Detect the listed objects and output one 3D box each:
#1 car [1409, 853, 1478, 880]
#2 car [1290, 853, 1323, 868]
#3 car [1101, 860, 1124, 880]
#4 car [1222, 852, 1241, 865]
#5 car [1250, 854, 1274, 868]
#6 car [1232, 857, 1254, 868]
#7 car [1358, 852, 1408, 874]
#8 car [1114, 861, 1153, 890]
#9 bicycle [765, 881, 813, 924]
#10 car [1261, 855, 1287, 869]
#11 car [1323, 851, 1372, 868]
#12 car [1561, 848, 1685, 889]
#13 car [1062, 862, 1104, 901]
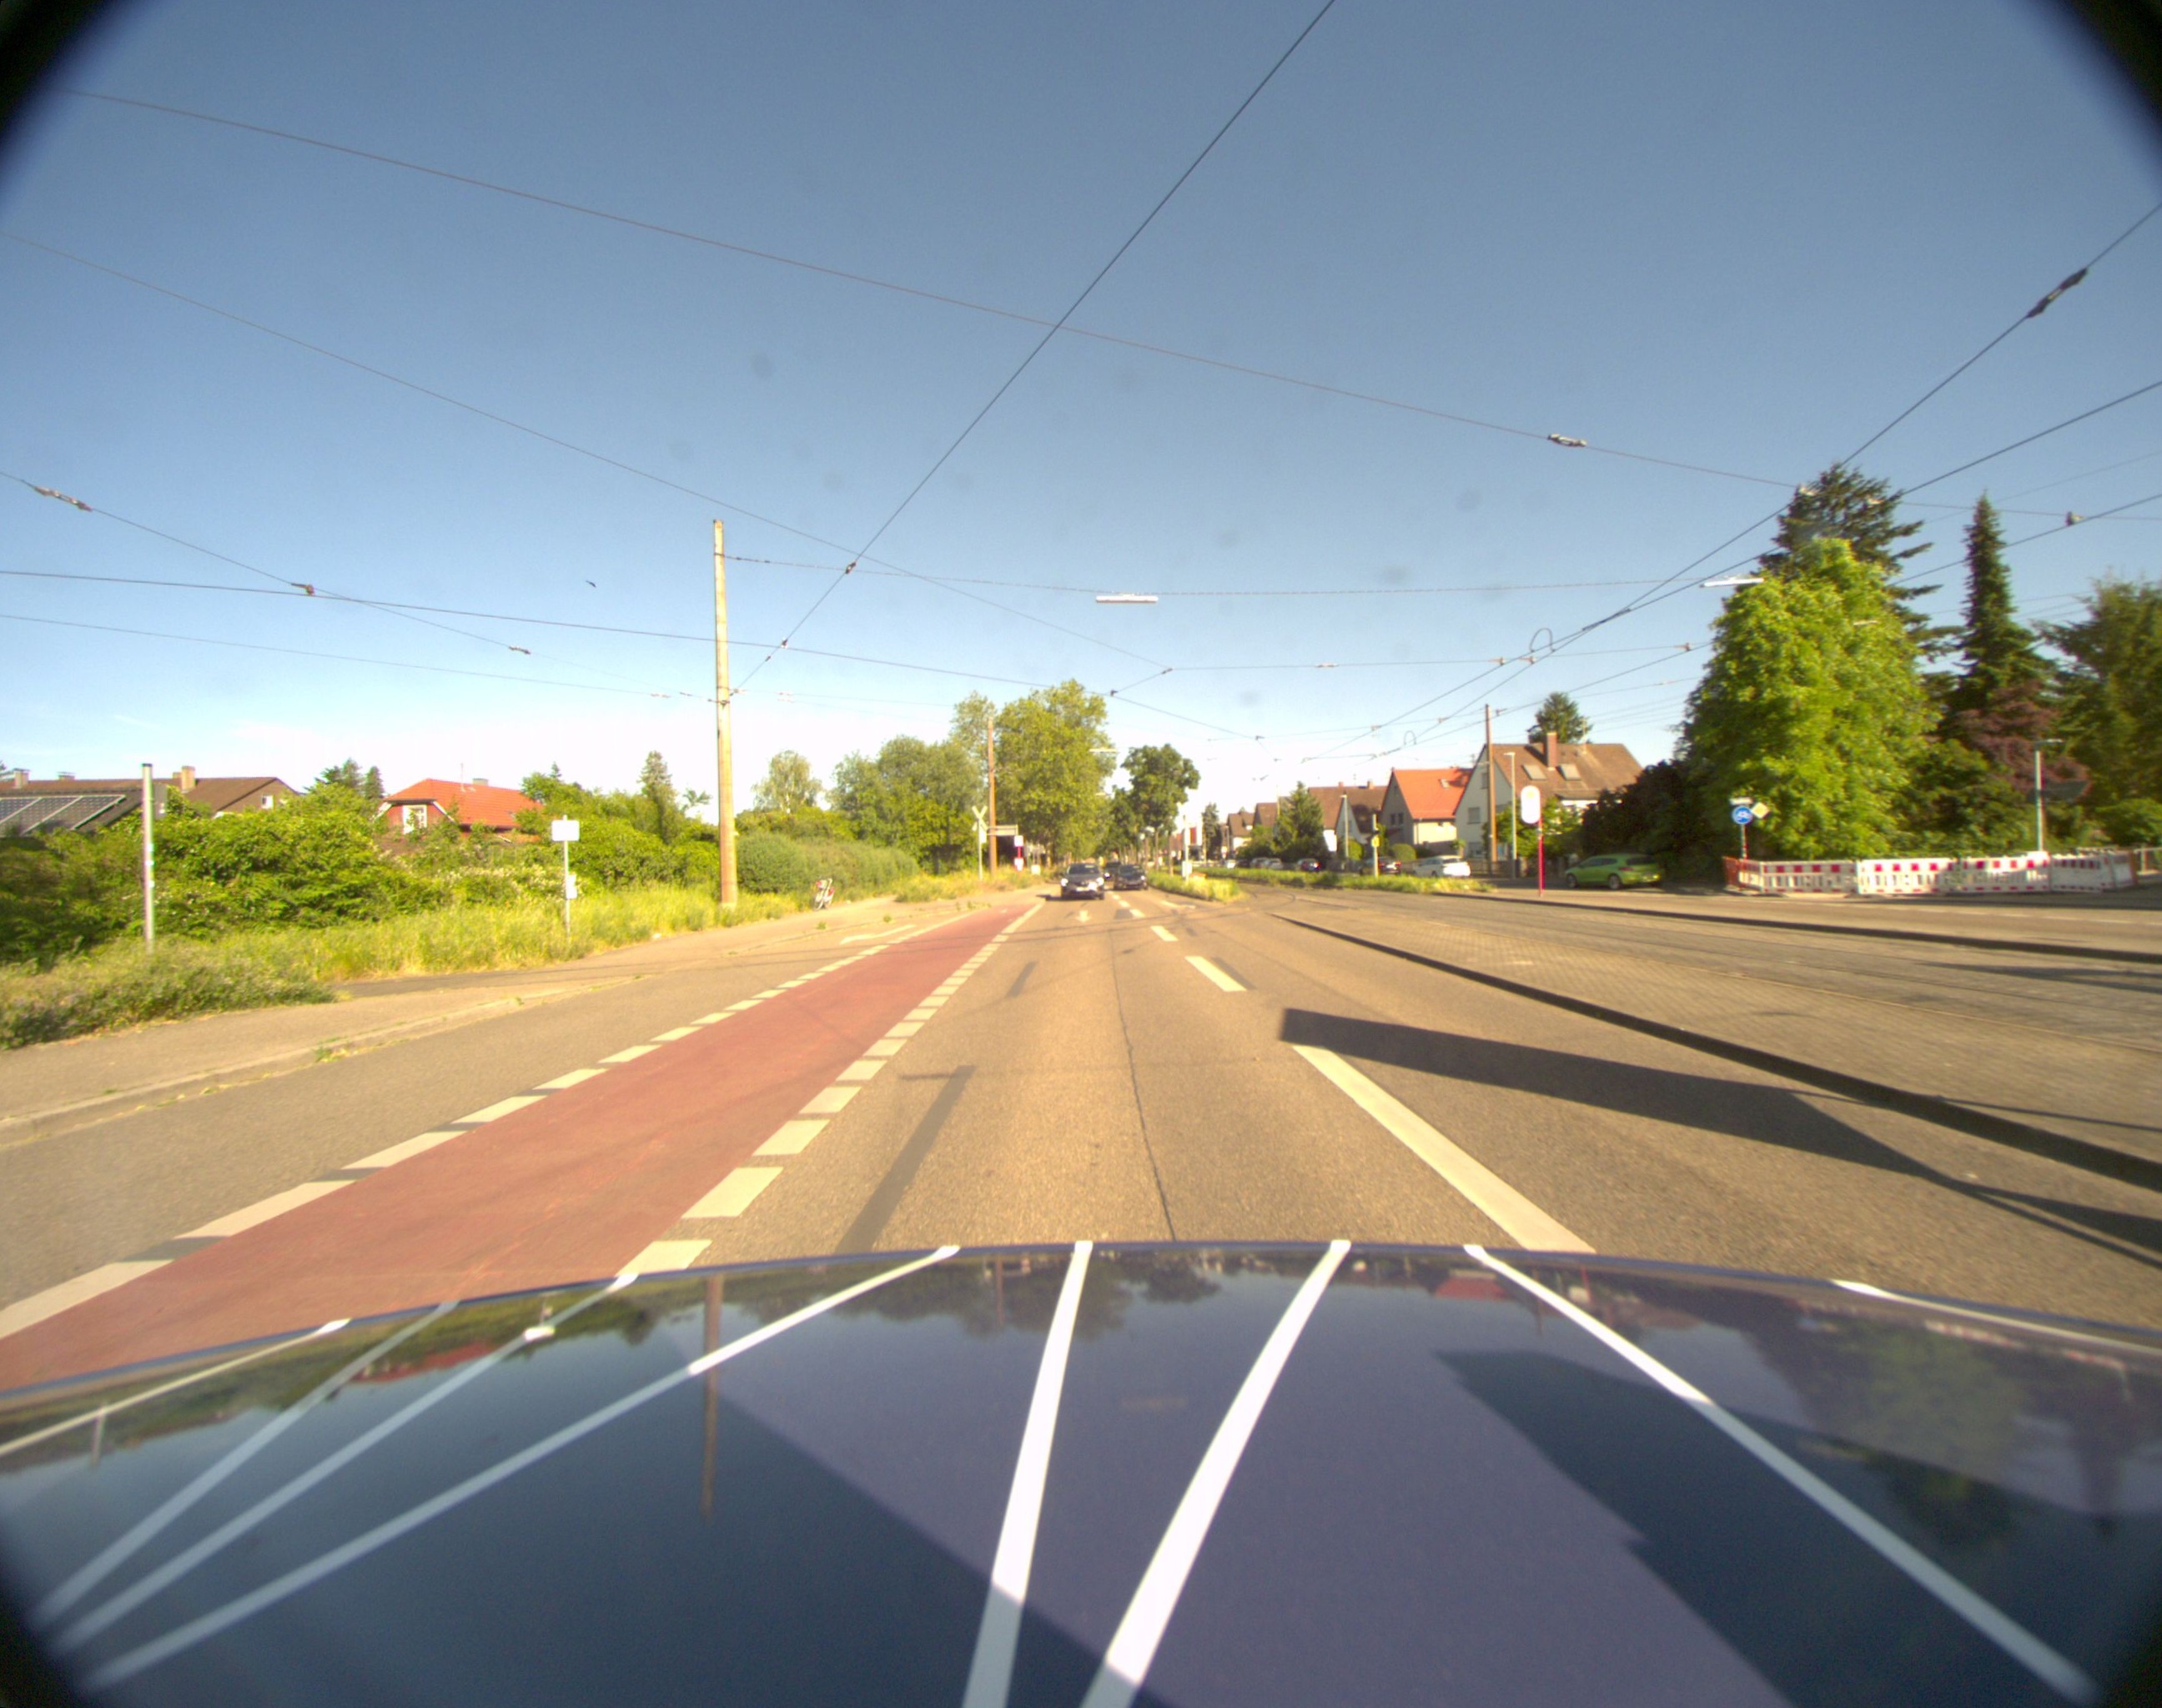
[{"bbox_3d":[21.892,0.735,46.076,1.888,1.464,4.614,-3,0,-1],"label":"car"},{"bbox_3d":[22.107,0.672,74.568,1.998,1.363,4.310,-2,0,1],"label":"car"},{"bbox_3d":[2.648,1.320,64.950,1.779,1.620,4.288,-1,0,1],"label":"car"},{"bbox_3d":[22.679,0.608,114.363,1.998,1.852,4.584,-2,0,1],"label":"car"},{"bbox_3d":[22.278,0.845,93.812,1.888,1.552,4.537,-3,0,1],"label":"car"},{"bbox_3d":[22.518,1.199,105.516,1.998,1.333,4.982,-3,0,1],"label":"car"},{"bbox_3d":[22.120,0.651,55.827,1.912,1.457,4.441,-3,0,1],"label":"car"},{"bbox_3d":[2.875,1.176,42.577,1.780,1.441,4.333,-2,0,-1],"label":"car"},{"bbox_3d":[-8.459,1.382,22.078,0.366,1.128,2.097,-1,0,5],"label":"bicycle"},{"bbox_3d":[22.506,0.885,88.756,1.888,1.463,4.839,-3,0,2],"label":"car"},{"bbox_3d":[28.111,0.539,80.183,4.488,1.462,1.748,-4,0,-1],"label":"car"},{"bbox_3d":[22.037,0.560,31.112,1.999,1.492,4.067,-3,0,-3],"label":"car"},{"bbox_3d":[0.079,1.132,32.452,1.673,1.529,3.586,-2,0,0],"label":"car"}]
